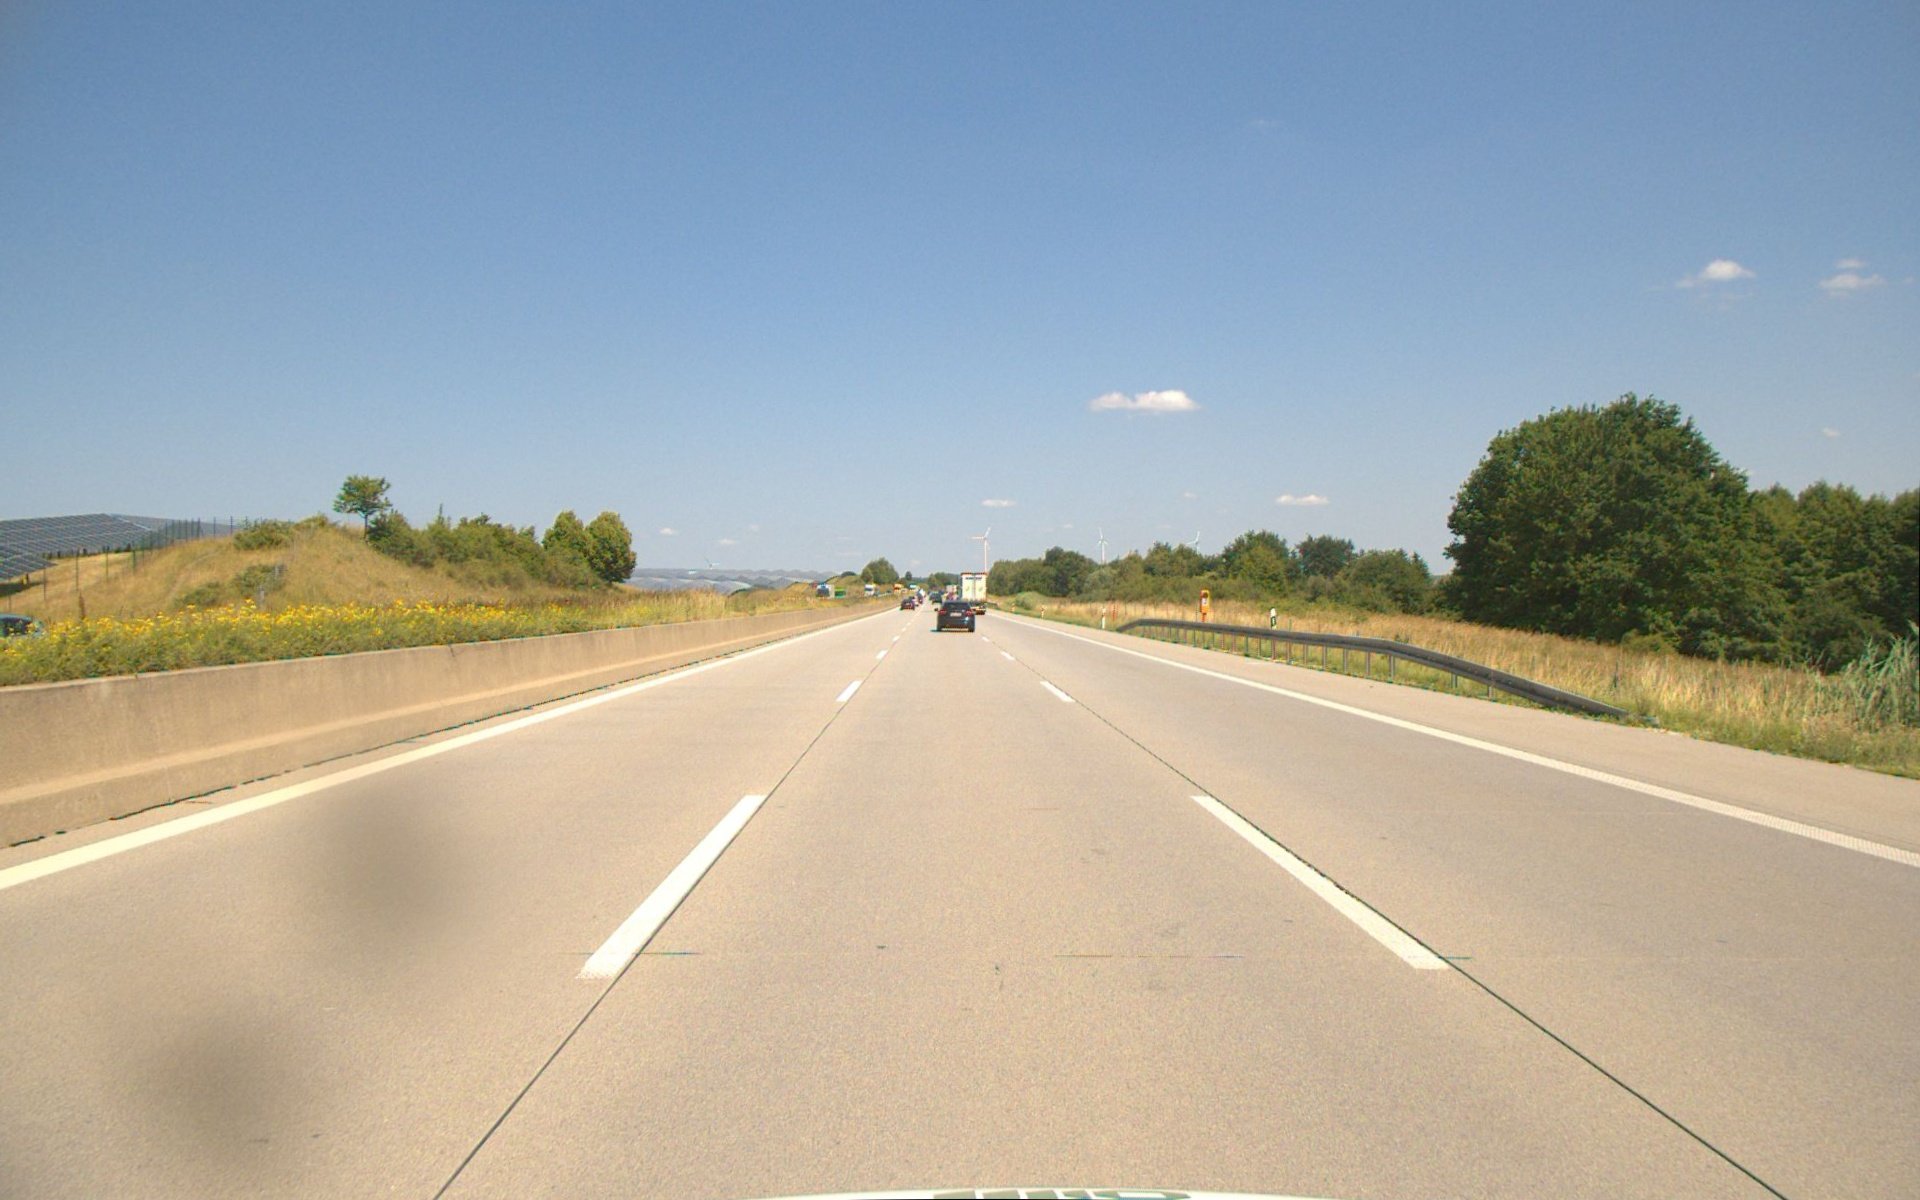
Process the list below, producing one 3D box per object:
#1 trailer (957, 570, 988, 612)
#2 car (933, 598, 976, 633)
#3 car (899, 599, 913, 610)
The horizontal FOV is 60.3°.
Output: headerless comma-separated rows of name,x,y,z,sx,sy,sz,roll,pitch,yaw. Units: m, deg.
trailer,1.208,-0.873,168.216,2.795,4.113,12.710,1,0,-1
car,-0.274,0.724,77.336,1.872,1.518,4.191,1,0,-1
car,-6.804,0.547,208.469,1.622,1.217,3.959,3,0,-1
